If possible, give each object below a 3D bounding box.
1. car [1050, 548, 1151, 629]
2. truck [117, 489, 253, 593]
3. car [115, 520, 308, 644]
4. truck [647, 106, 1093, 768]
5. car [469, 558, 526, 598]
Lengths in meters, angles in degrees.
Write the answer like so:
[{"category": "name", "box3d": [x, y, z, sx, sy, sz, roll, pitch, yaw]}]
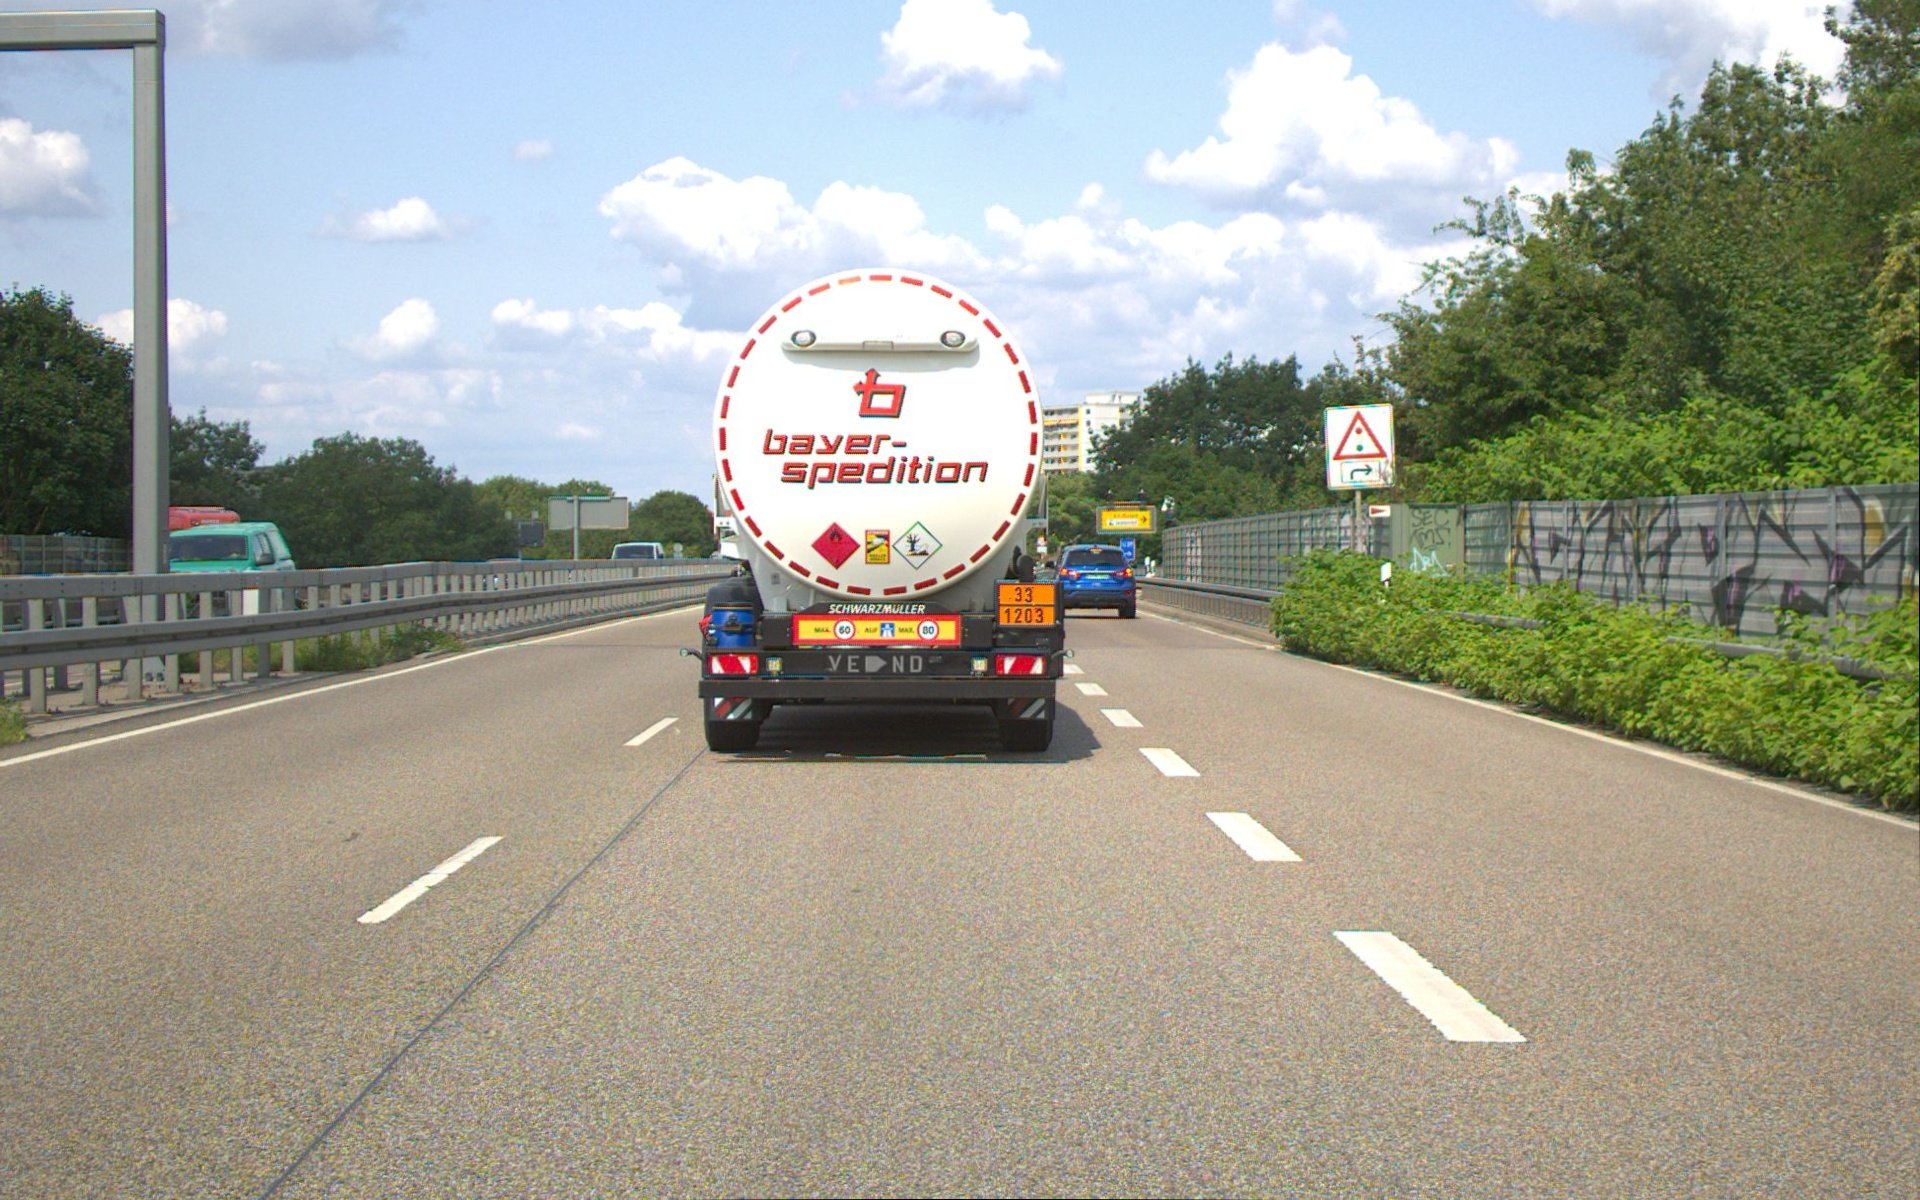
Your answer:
[{"category": "car", "box3d": [3.082, -0.267, 76.162, 1.993, 1.700, 4.000, 1, 0, -1]}, {"category": "truck", "box3d": [-29.089, -2.209, 128.939, 2.648, 3.769, 6.232, 1, 0, -36]}, {"category": "car", "box3d": [-11.969, -0.297, 55.333, 1.993, 1.857, 5.393, 1, 0, -1]}, {"category": "truck", "box3d": [-0.640, -1.118, 26.903, 2.895, 4.354, 8.030, 1, 0, -1]}, {"category": "car", "box3d": [-16.884, -0.807, 125.686, 1.688, 1.426, 4.403, 1, 0, -3]}]
